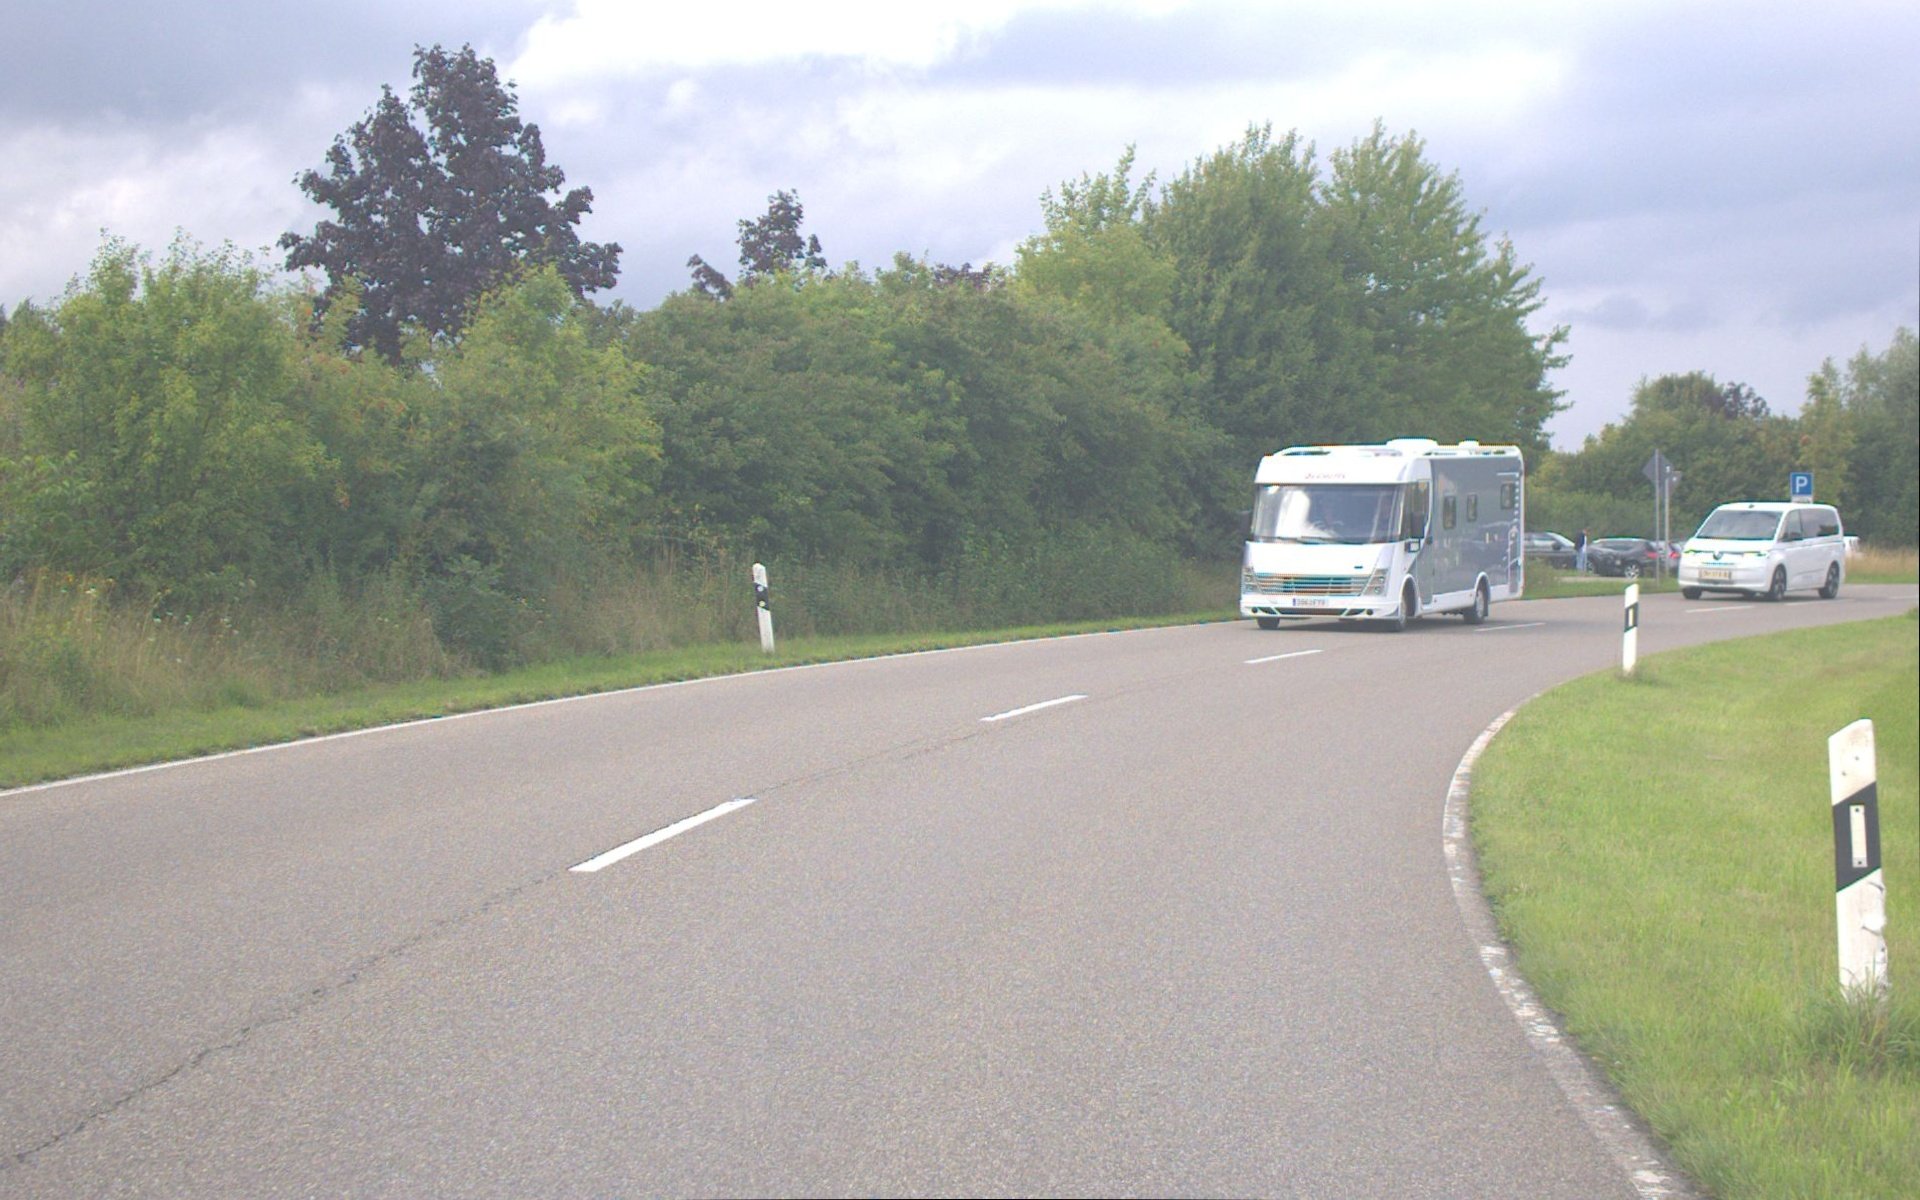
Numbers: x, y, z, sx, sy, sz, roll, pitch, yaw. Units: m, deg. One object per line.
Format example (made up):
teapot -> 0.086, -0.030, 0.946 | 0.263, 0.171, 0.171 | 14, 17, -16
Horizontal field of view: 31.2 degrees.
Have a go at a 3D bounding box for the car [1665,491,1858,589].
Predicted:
car -> 15.947, -1.194, 68.238 | 2.117, 1.862, 5.177 | 1, 1, 33

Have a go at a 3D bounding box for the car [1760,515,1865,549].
car -> 34.773, -2.763, 140.241 | 3.992, 1.375, 1.474 | 0, 1, 24

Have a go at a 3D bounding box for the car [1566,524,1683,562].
car -> 23.716, -2.036, 122.681 | 3.990, 1.375, 1.475 | 0, 1, 17

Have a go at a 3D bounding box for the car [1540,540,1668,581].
car -> 22.210, -1.376, 118.599 | 3.993, 1.375, 1.821 | 1, 1, 29

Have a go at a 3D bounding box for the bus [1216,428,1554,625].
bus -> 6.526, -1.094, 51.493 | 2.478, 2.702, 8.419 | 1, 1, 25
